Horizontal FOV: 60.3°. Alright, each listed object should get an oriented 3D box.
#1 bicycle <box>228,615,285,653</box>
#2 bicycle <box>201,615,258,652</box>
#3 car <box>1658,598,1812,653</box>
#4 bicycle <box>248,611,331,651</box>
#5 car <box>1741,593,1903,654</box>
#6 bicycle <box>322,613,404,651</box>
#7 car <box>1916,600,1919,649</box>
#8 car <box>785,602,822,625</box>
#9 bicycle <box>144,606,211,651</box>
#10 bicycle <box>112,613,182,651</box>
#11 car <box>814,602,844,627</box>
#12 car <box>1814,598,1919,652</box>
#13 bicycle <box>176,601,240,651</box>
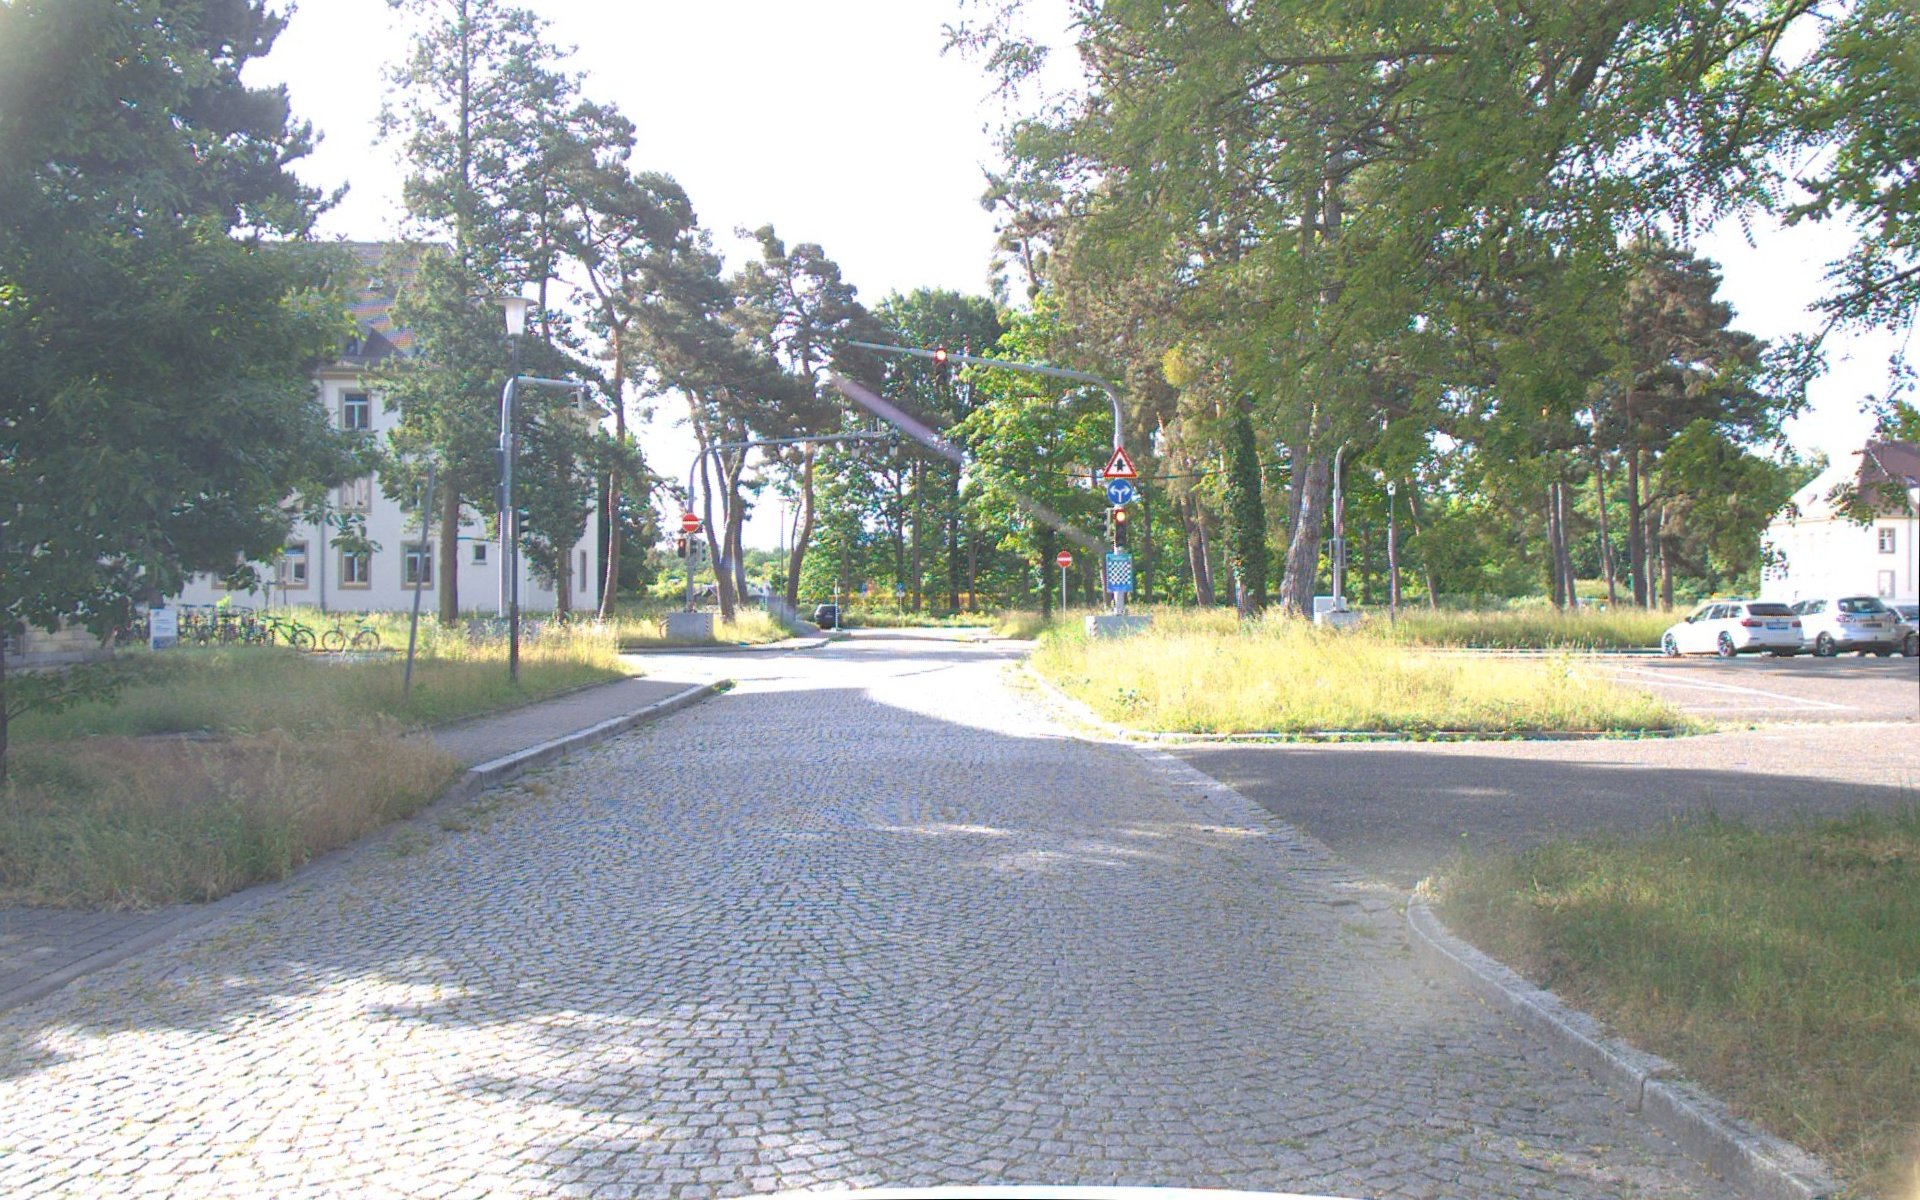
[{"bbox_3d":[-20.869,0.997,49.104,0.809,1.065,2.123,0,0,-2],"label":"bicycle"},{"bbox_3d":[-21.635,0.980,49.036,0.809,1.065,2.123,0,0,-2],"label":"bicycle"},{"bbox_3d":[20.021,0.625,42.947,1.697,1.335,4.327,0,0,-5],"label":"car"},{"bbox_3d":[-19.409,0.891,47.900,2.076,1.128,0.828,0,0,-5],"label":"bicycle"},{"bbox_3d":[22.483,0.588,43.333,1.697,1.502,4.327,0,0,-5],"label":"car"},{"bbox_3d":[-17.328,0.933,48.061,2.076,1.065,0.828,0,0,-5],"label":"bicycle"},{"bbox_3d":[27.718,0.670,44.084,1.697,1.335,4.327,-1,0,-5],"label":"car"},{"bbox_3d":[-10.457,0.907,110.503,1.745,1.516,3.757,0,0,5],"label":"car"},{"bbox_3d":[-23.170,0.829,49.027,0.809,1.303,2.553,0,0,-2],"label":"bicycle"},{"bbox_3d":[-24.054,0.929,48.998,0.882,1.065,2.553,0,0,-2],"label":"bicycle"},{"bbox_3d":[-8.354,0.915,105.807,1.808,1.512,3.997,0,0,-4],"label":"car"},{"bbox_3d":[24.727,0.620,43.796,1.697,1.335,4.327,-1,0,-5],"label":"car"},{"bbox_3d":[-22.419,0.753,49.353,0.809,1.462,2.553,0,0,-2],"label":"bicycle"}]
